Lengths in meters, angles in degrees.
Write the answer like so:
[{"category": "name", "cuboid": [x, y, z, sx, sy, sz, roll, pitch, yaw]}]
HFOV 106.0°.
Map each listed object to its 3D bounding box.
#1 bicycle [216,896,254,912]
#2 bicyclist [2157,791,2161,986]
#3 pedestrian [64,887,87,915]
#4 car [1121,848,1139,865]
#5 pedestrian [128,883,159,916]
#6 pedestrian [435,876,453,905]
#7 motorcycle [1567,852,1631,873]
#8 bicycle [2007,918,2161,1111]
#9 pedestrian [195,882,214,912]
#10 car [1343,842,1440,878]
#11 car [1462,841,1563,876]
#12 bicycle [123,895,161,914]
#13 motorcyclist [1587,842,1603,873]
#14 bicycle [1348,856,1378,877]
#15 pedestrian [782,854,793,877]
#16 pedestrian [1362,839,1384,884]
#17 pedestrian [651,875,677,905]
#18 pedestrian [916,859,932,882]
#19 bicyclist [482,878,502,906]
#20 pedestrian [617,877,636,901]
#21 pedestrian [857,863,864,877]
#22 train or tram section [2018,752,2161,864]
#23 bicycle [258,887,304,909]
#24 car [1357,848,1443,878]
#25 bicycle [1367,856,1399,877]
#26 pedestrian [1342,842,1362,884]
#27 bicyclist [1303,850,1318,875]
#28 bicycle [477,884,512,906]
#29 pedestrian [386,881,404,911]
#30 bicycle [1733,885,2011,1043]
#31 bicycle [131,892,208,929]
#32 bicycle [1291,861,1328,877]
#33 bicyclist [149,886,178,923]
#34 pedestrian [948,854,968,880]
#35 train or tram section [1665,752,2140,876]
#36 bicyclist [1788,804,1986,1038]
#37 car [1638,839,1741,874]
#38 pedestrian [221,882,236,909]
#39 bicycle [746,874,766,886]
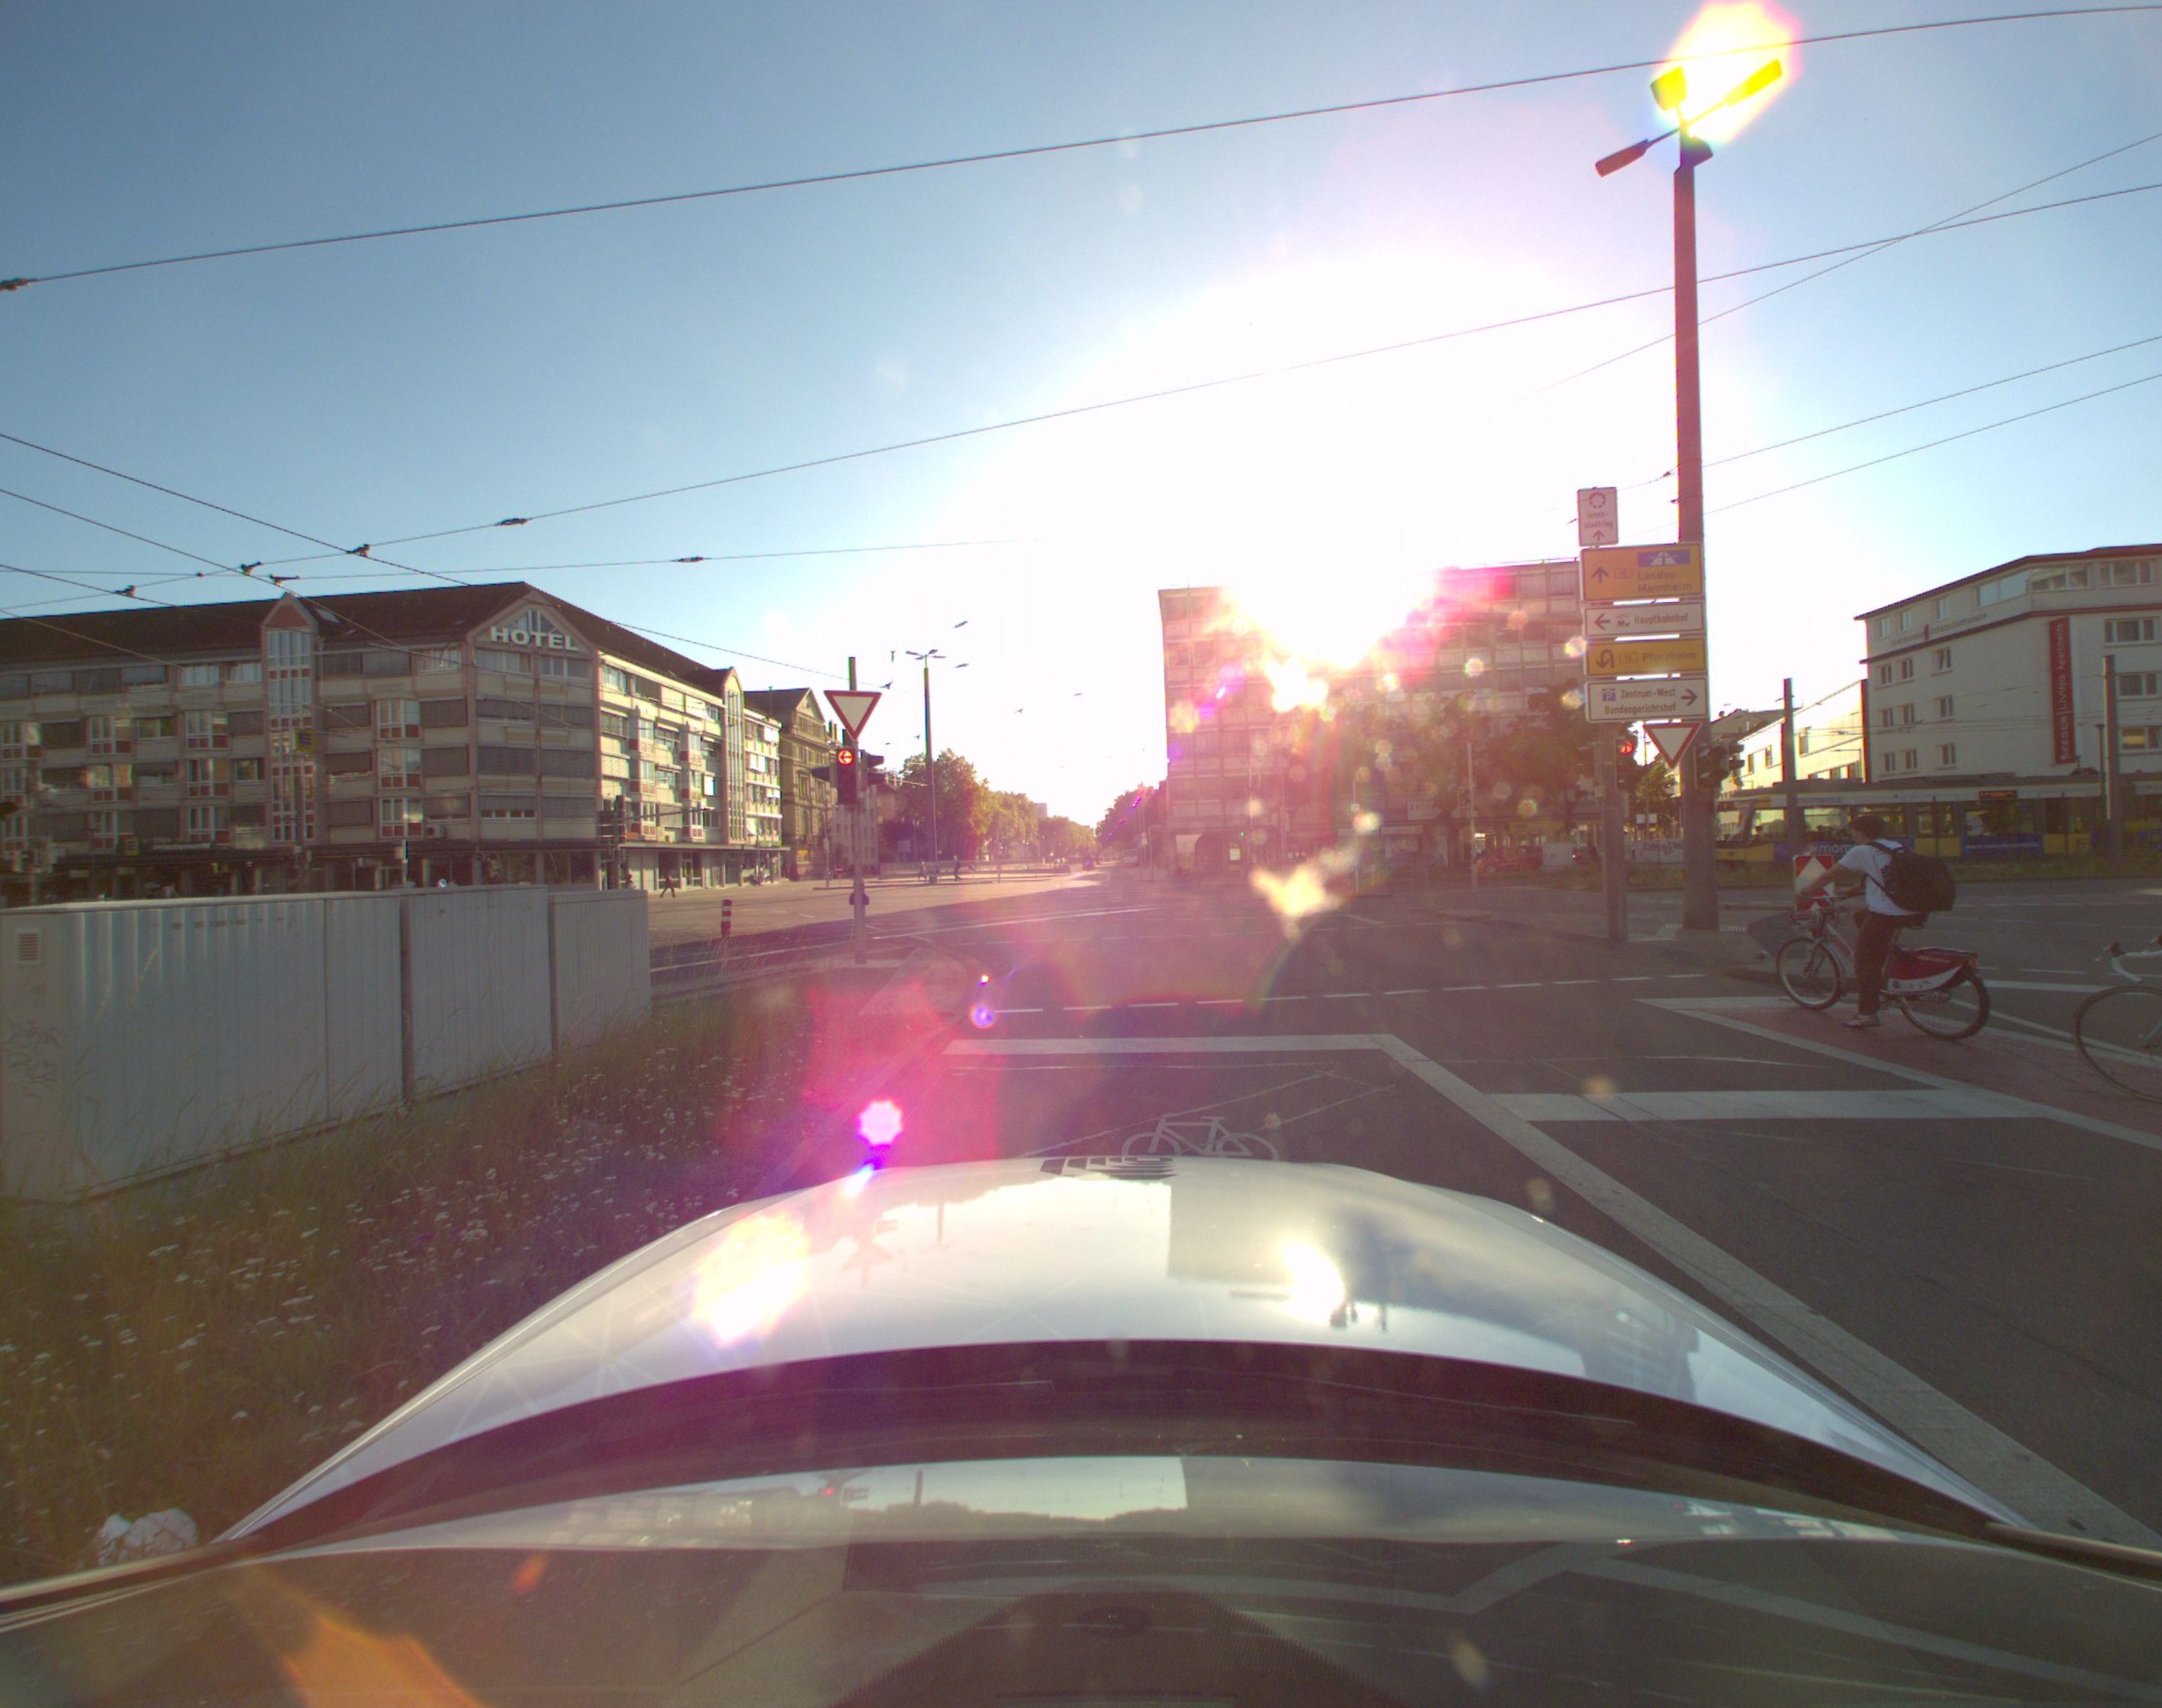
[{"category": "bicycle", "cuboid": [-52.462, 3.072, 50.508, 2.060, 0.917, 0.502, -2, -1, 7]}, {"category": "bicyclist", "cuboid": [6.166, 0.529, 4.029, 0.612, 1.746, 0.791, 0, -1, -3]}, {"category": "pedestrian", "cuboid": [-64.741, 3.030, 52.437, 0.671, 1.778, 0.825, -1, -1, 32]}, {"category": "car", "cuboid": [6.308, 0.318, 103.961, 2.275, 2.172, 4.838, 0, -1, 4]}, {"category": "pedestrian", "cuboid": [-48.182, 2.318, 41.851, 0.680, 1.660, 0.780, 0, -1, -4]}, {"category": "pedestrian", "cuboid": [-38.813, 2.210, 49.627, 0.510, 1.764, 0.999, 0, -1, -18]}, {"category": "motorcycle", "cuboid": [24.967, 0.418, 39.295, 2.648, 1.001, 0.536, 0, -1, 6]}, {"category": "bicycle", "cuboid": [6.189, 0.905, 4.337, 0.540, 1.001, 1.692, 0, -1, -3]}, {"category": "pedestrian", "cuboid": [-56.221, 2.746, 52.224, 0.598, 1.852, 0.613, -1, -1, 12]}, {"category": "car", "cuboid": [14.734, 0.297, 38.822, 3.966, 1.618, 1.847, 0, -1, 6]}, {"category": "car", "cuboid": [20.932, 0.229, 39.617, 3.966, 1.618, 1.847, 0, -1, 6]}, {"category": "bicycle", "cuboid": [-60.185, 3.244, 52.215, 0.481, 1.119, 1.650, 0, -1, 2]}, {"category": "motorcyclist", "cuboid": [24.819, 0.165, 39.317, 0.458, 1.509, 0.536, 0, -1, 7]}, {"category": "bicycle", "cuboid": [16.989, 0.717, 49.074, 0.748, 1.143, 2.637, 0, 2, -4]}, {"category": "pedestrian", "cuboid": [-31.226, 1.193, 86.534, 0.926, 2.398, 0.958, 0, -1, -9]}, {"category": "pedestrian", "cuboid": [11.827, 0.299, 33.040, 0.690, 1.793, 1.045, -1, -1, 12]}, {"category": "pedestrian", "cuboid": [-27.400, 2.358, 53.515, 1.191, 1.882, 0.856, 0, 6, -3]}, {"category": "pedestrian", "cuboid": [-10.084, 1.060, 52.269, 0.858, 1.465, 0.680, 0, -6, -27]}, {"category": "bicyclist", "cuboid": [-34.854, 2.220, 48.229, 0.636, 1.596, 0.659, 0, 2, 5]}, {"category": "pedestrian", "cuboid": [-28.386, 2.186, 50.855, 0.703, 1.453, 0.855, 0, -1, -3]}, {"category": "pedestrian", "cuboid": [-28.223, 2.050, 104.337, 0.693, 1.695, 0.724, 0, -1, 1]}, {"category": "train or tram section", "cuboid": [42.931, -1.770, 29.504, 12.879, 3.833, 3.719, -2, -1, 4]}, {"category": "bicycle", "cuboid": [-49.463, 2.720, 50.335, 2.312, 1.227, 0.731, -2, -1, 7]}, {"category": "car", "cuboid": [17.310, 0.489, 44.350, 4.046, 1.618, 1.847, 0, -1, 6]}, {"category": "bicycle", "cuboid": [18.182, 0.717, 49.092, 0.748, 1.143, 2.637, 0, 2, -4]}, {"category": "pedestrian", "cuboid": [11.077, 0.355, 33.306, 0.690, 1.682, 1.046, -1, -1, 15]}, {"category": "bicyclist", "cuboid": [13.519, 0.502, 48.045, 0.677, 1.424, 0.671, 0, -1, 1]}, {"category": "bicycle", "cuboid": [-34.842, 2.442, 48.383, 0.635, 1.145, 1.773, 0, 2, 6]}, {"category": "pedestrian", "cuboid": [-39.739, 2.411, 47.166, 0.625, 1.694, 0.859, 0, -1, -30]}, {"category": "bicycle", "cuboid": [6.570, 0.845, 6.922, 0.540, 1.101, 1.807, 0, -1, -3]}, {"category": "bicycle", "cuboid": [-38.556, 2.354, 34.472, 0.577, 1.366, 2.108, 0, 2, 40]}, {"category": "bicycle", "cuboid": [13.478, 0.889, 48.045, 2.017, 0.940, 0.671, 0, -1, 0]}, {"category": "bicyclist", "cuboid": [-38.674, 2.101, 34.323, 0.559, 1.481, 0.743, 0, 1, 39]}, {"category": "pedestrian", "cuboid": [-8.271, 0.884, 54.729, 1.191, 1.731, 0.855, 0, -1, -3]}, {"category": "train or tram section", "cuboid": [29.935, -1.366, 30.337, 13.257, 3.833, 3.719, -2, -1, 4]}, {"category": "bicyclist", "cuboid": [6.590, 0.510, 6.726, 0.540, 1.768, 1.059, 0, -1, -3]}, {"category": "car", "cuboid": [29.392, 0.115, 39.360, 3.991, 1.618, 1.836, 0, -1, -13]}, {"category": "pedestrian", "cuboid": [-53.634, 2.633, 51.243, 0.614, 1.636, 0.596, 1, -11, -43]}, {"category": "bicycle", "cuboid": [-29.657, 2.366, 74.399, 0.447, 1.071, 2.102, -1, -1, 19]}]
